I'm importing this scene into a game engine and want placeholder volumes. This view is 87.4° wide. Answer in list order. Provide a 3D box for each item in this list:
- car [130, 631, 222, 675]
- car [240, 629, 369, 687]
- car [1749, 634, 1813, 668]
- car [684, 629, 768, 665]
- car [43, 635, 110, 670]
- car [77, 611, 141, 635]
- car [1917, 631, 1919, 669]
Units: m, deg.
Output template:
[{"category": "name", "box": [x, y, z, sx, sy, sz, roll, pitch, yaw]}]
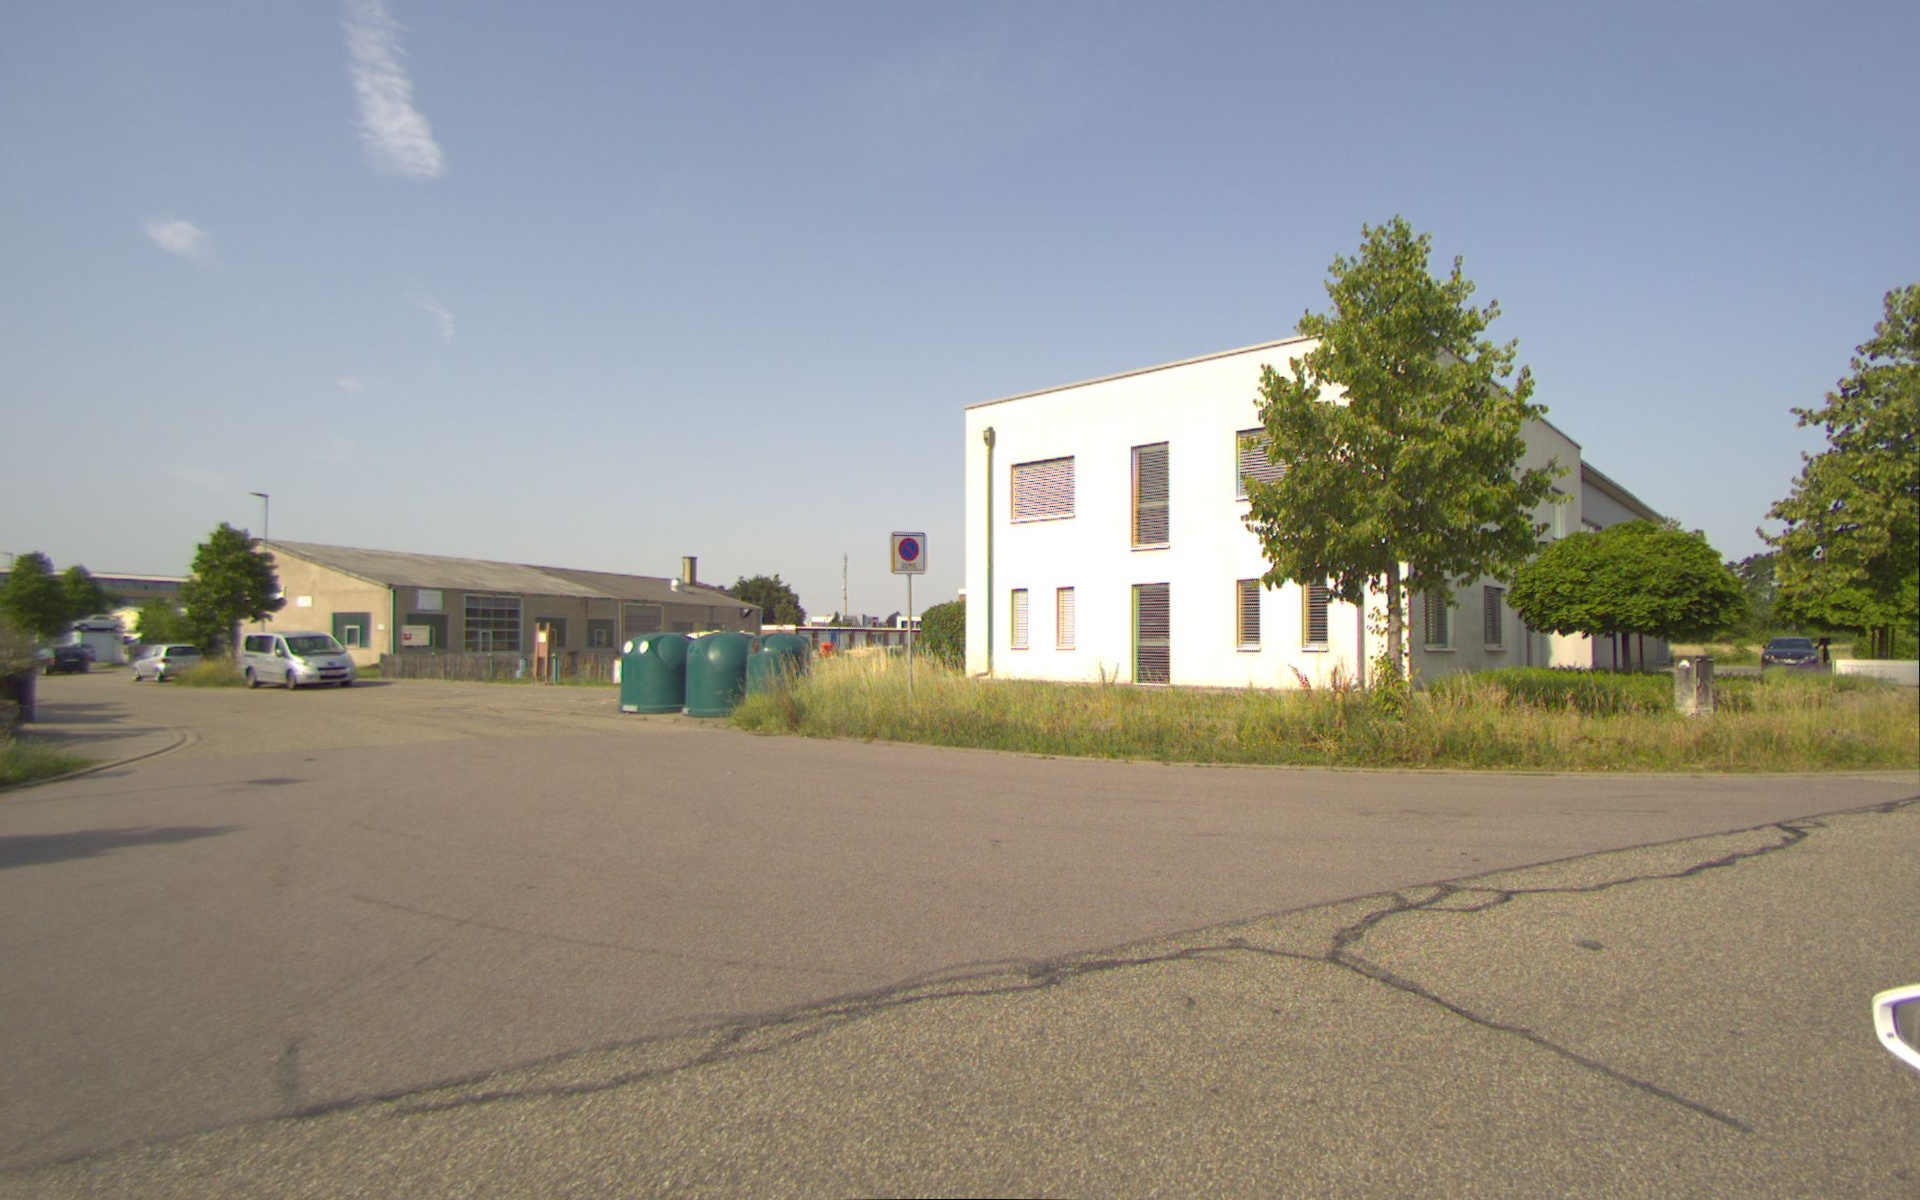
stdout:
[{"category": "car", "box": [-33.021, 2.190, 42.283, 3.934, 1.750, 1.994, -1, -2, 35]}, {"category": "car", "box": [-22.432, 1.939, 34.310, 4.807, 1.848, 2.017, -1, -2, 35]}, {"category": "car", "box": [34.612, 2.100, 42.305, 1.966, 1.342, 4.329, -1, -2, 41]}, {"category": "car", "box": [-14.397, 2.901, 61.983, 4.558, 2.166, 2.148, 0, -2, 15]}, {"category": "car", "box": [-46.130, 2.715, 52.417, 3.939, 1.750, 1.991, -1, -2, 40]}, {"category": "car", "box": [-76.133, 2.076, 89.866, 1.966, 2.040, 3.988, 2, 0, 34]}, {"category": "car", "box": [38.303, 1.969, 38.802, 1.660, 1.496, 4.329, -1, -2, 41]}]
